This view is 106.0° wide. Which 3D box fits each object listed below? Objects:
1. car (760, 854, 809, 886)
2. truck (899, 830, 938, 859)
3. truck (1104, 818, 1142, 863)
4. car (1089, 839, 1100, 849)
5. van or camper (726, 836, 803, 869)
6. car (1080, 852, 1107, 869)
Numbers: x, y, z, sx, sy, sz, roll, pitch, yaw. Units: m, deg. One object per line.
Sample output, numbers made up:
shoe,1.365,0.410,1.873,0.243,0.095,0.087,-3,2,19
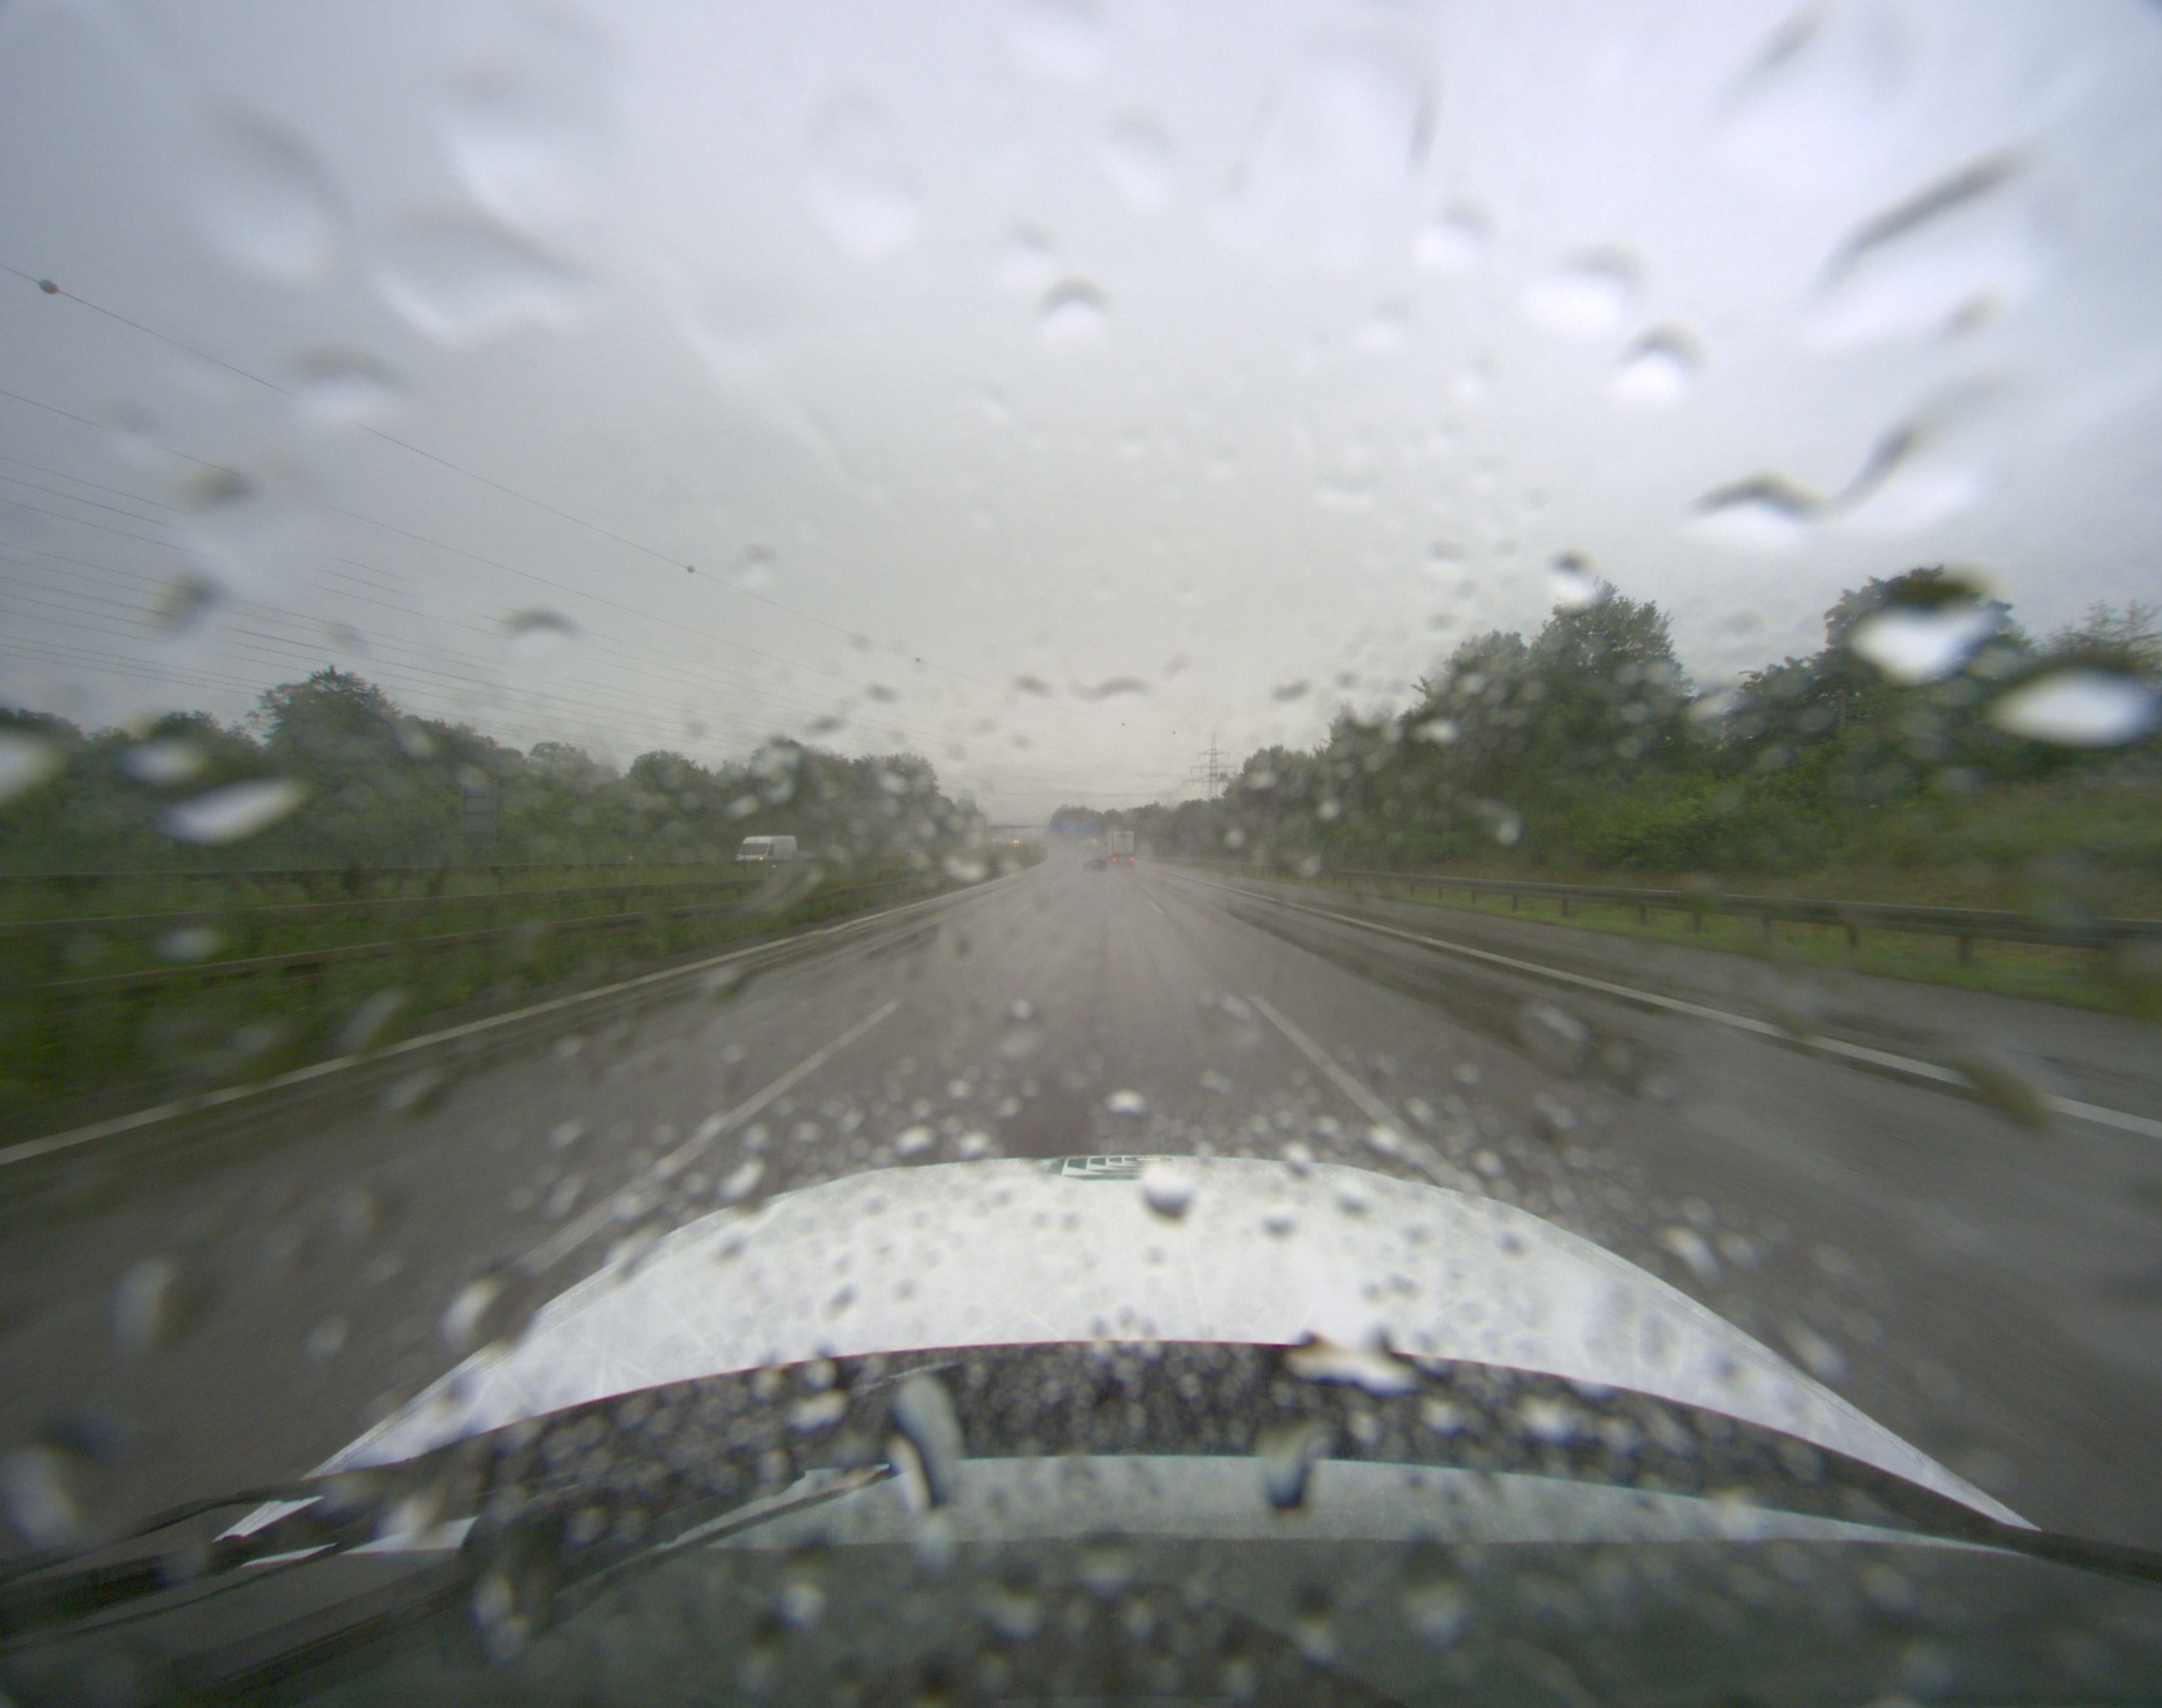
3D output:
car,-15.773,0.827,43.439,1.301,1.503,3.259,-3,0,1
truck,-19.860,-1.148,100.100,3.058,3.276,7.392,3,0,0
truck,5.148,-1.641,100.860,4.239,4.972,17.352,-2,0,3
car,2.995,-2.327,185.062,2.385,2.272,5.003,1,1,0
van or camper,-20.910,-0.135,54.226,2.269,1.972,6.761,2,1,1
car,0.955,0.482,61.545,1.741,1.212,4.005,2,0,4
